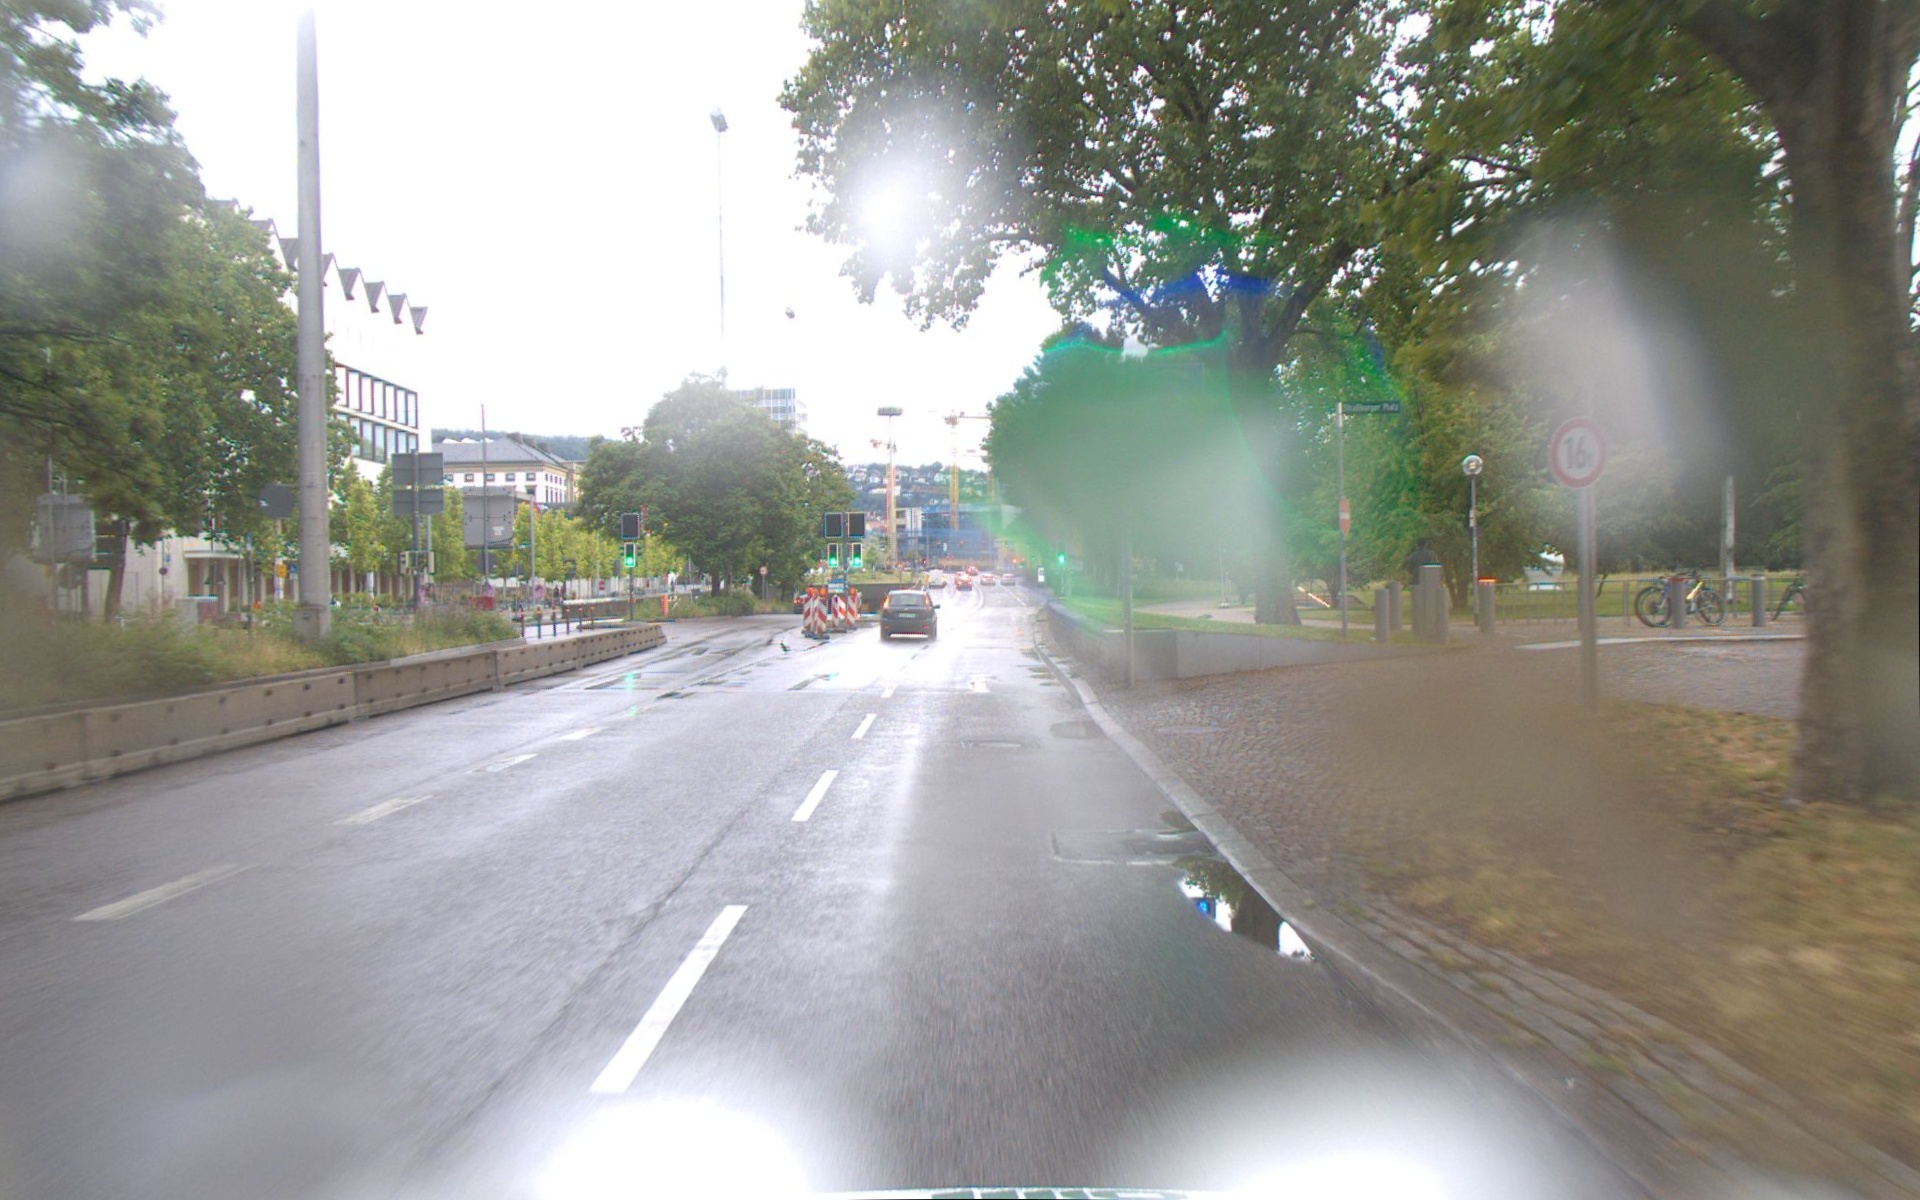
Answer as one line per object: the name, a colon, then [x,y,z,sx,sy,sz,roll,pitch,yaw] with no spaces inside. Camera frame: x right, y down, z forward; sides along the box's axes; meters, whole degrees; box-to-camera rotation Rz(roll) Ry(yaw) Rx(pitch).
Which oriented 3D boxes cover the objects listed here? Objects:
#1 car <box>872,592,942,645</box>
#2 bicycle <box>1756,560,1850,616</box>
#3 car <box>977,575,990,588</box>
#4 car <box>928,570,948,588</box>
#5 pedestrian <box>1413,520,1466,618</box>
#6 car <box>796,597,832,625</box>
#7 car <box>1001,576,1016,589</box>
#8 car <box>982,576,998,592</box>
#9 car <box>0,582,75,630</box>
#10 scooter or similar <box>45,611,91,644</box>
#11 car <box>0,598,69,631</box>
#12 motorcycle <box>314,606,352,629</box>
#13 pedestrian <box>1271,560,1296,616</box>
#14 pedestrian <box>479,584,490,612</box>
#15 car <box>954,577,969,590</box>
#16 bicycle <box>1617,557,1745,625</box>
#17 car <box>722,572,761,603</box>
car: [-1.626,0.560,49.772,1.808,1.441,3.834,-3,-1,-6]
bicycle: [17.516,-0.254,34.397,1.609,1.104,0.708,-2,1,-6]
car: [3.351,-2.635,239.597,1.677,1.719,3.850,-3,-1,2]
car: [-2.866,-2.754,217.955,2.173,2.049,4.002,-3,-2,5]
pedestrian: [8.811,-0.570,30.399,0.691,1.748,0.692,-3,0,0]
car: [-9.767,0.722,110.572,1.952,1.812,4.000,-2,0,1]
car: [6.925,-2.468,236.803,1.952,1.627,4.001,-3,-1,2]
car: [4.243,-2.208,234.310,1.948,2.049,3.997,-3,-1,-3]
car: [-49.389,0.328,87.604,3.908,2.046,2.001,4,6,-3]
scooter or similar: [-38.206,1.176,70.862,0.697,1.375,1.675,-3,-1,20]
car: [-48.669,0.767,85.715,3.907,1.624,1.999,-1,0,-3]
motorcycle: [-33.121,0.916,87.370,1.813,1.174,0.423,-2,0,-28]
pedestrian: [10.575,-0.387,54.132,0.582,1.786,0.725,-2,1,-3]
pedestrian: [-34.806,-0.155,121.006,0.535,2.049,0.524,-2,-1,-35]
car: [0.237,-2.389,241.832,1.952,1.813,4.000,-3,-1,1]
bicycle: [13.379,-0.165,30.717,1.998,1.194,0.957,-1,1,-11]
car: [-12.125,-0.679,92.087,1.955,1.661,3.996,-1,0,-5]
